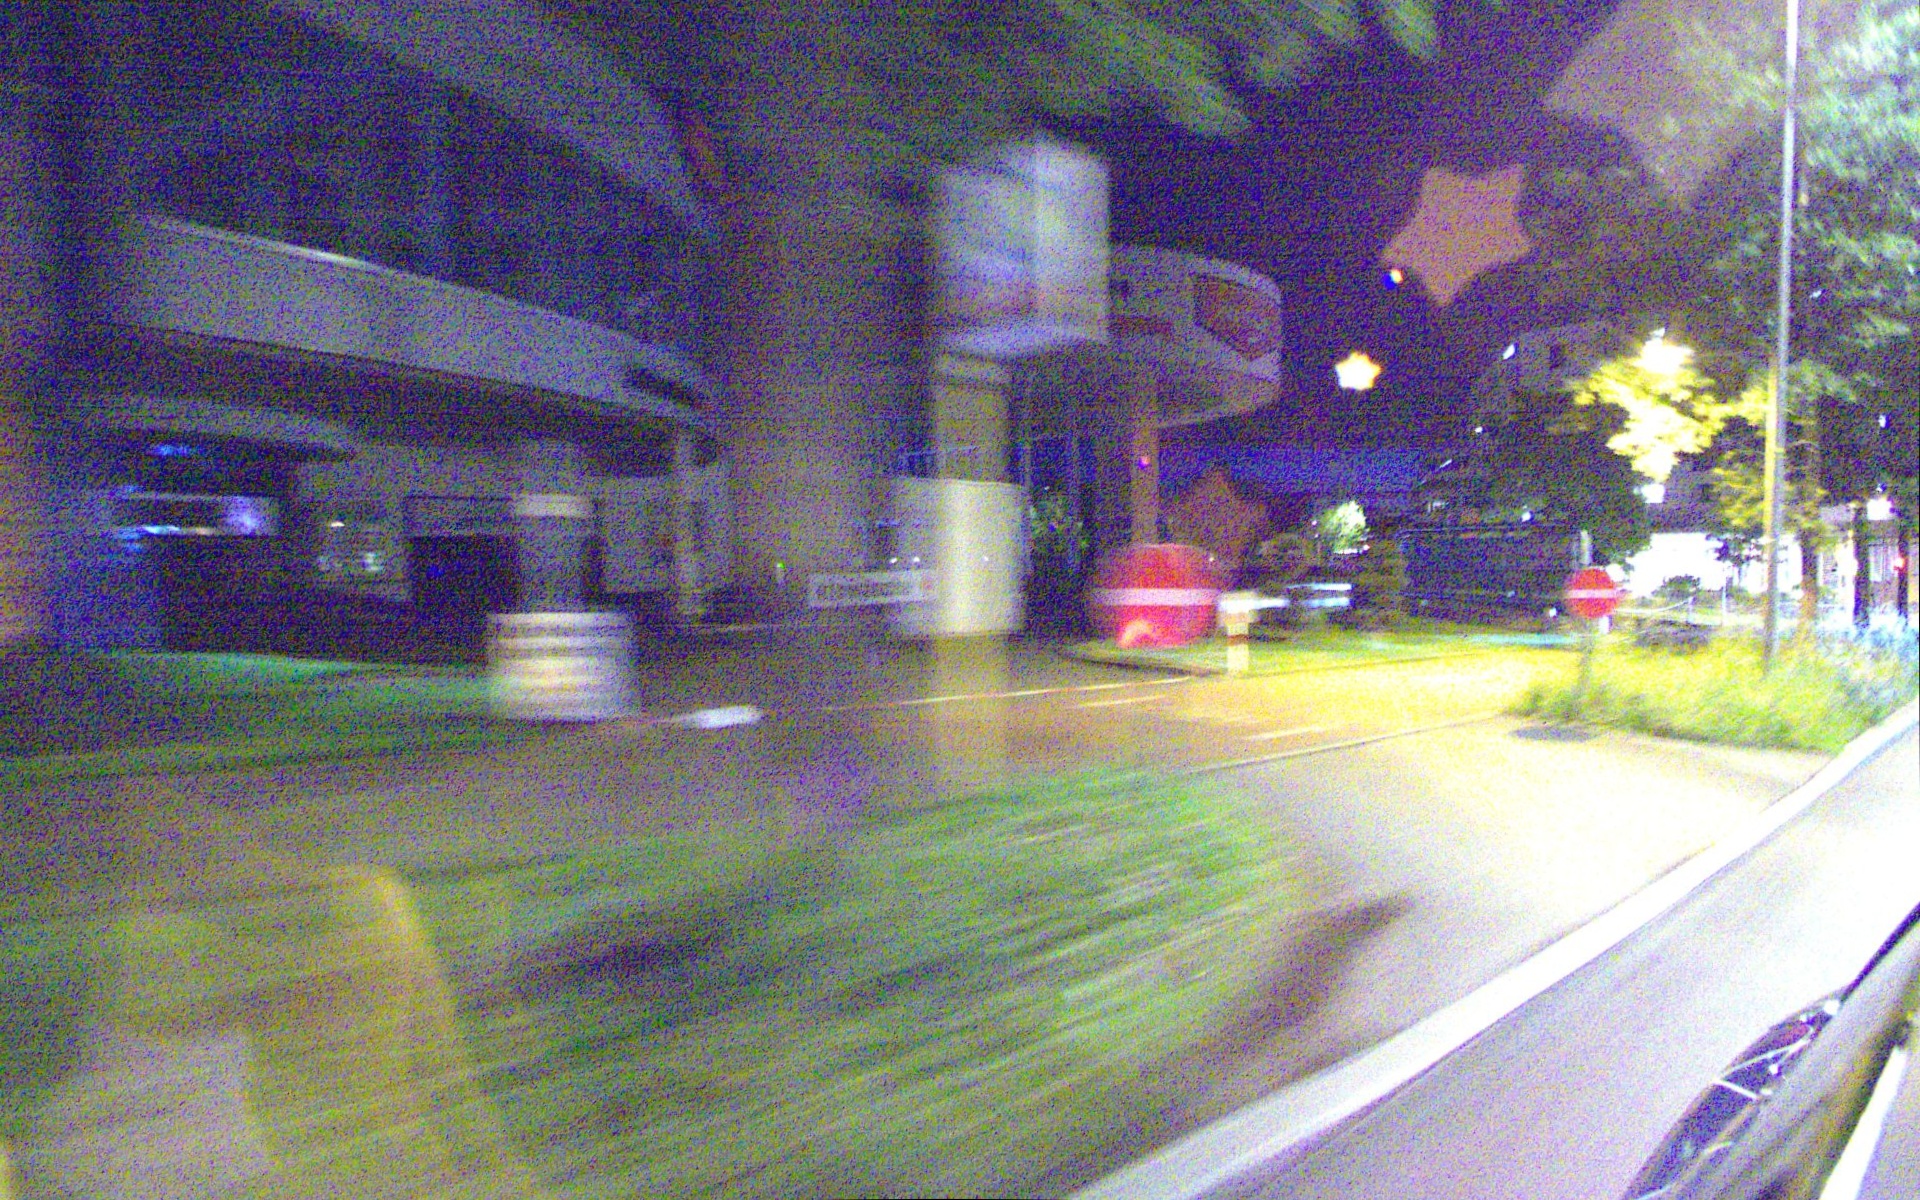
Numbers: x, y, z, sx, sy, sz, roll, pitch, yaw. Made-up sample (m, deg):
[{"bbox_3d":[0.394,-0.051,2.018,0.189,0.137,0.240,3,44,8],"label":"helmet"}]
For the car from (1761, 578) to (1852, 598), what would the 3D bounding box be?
[{"bbox_3d":[51.174,-0.706,61.229,3.934,1.047,1.481,2,1,9],"label":"car"}]
